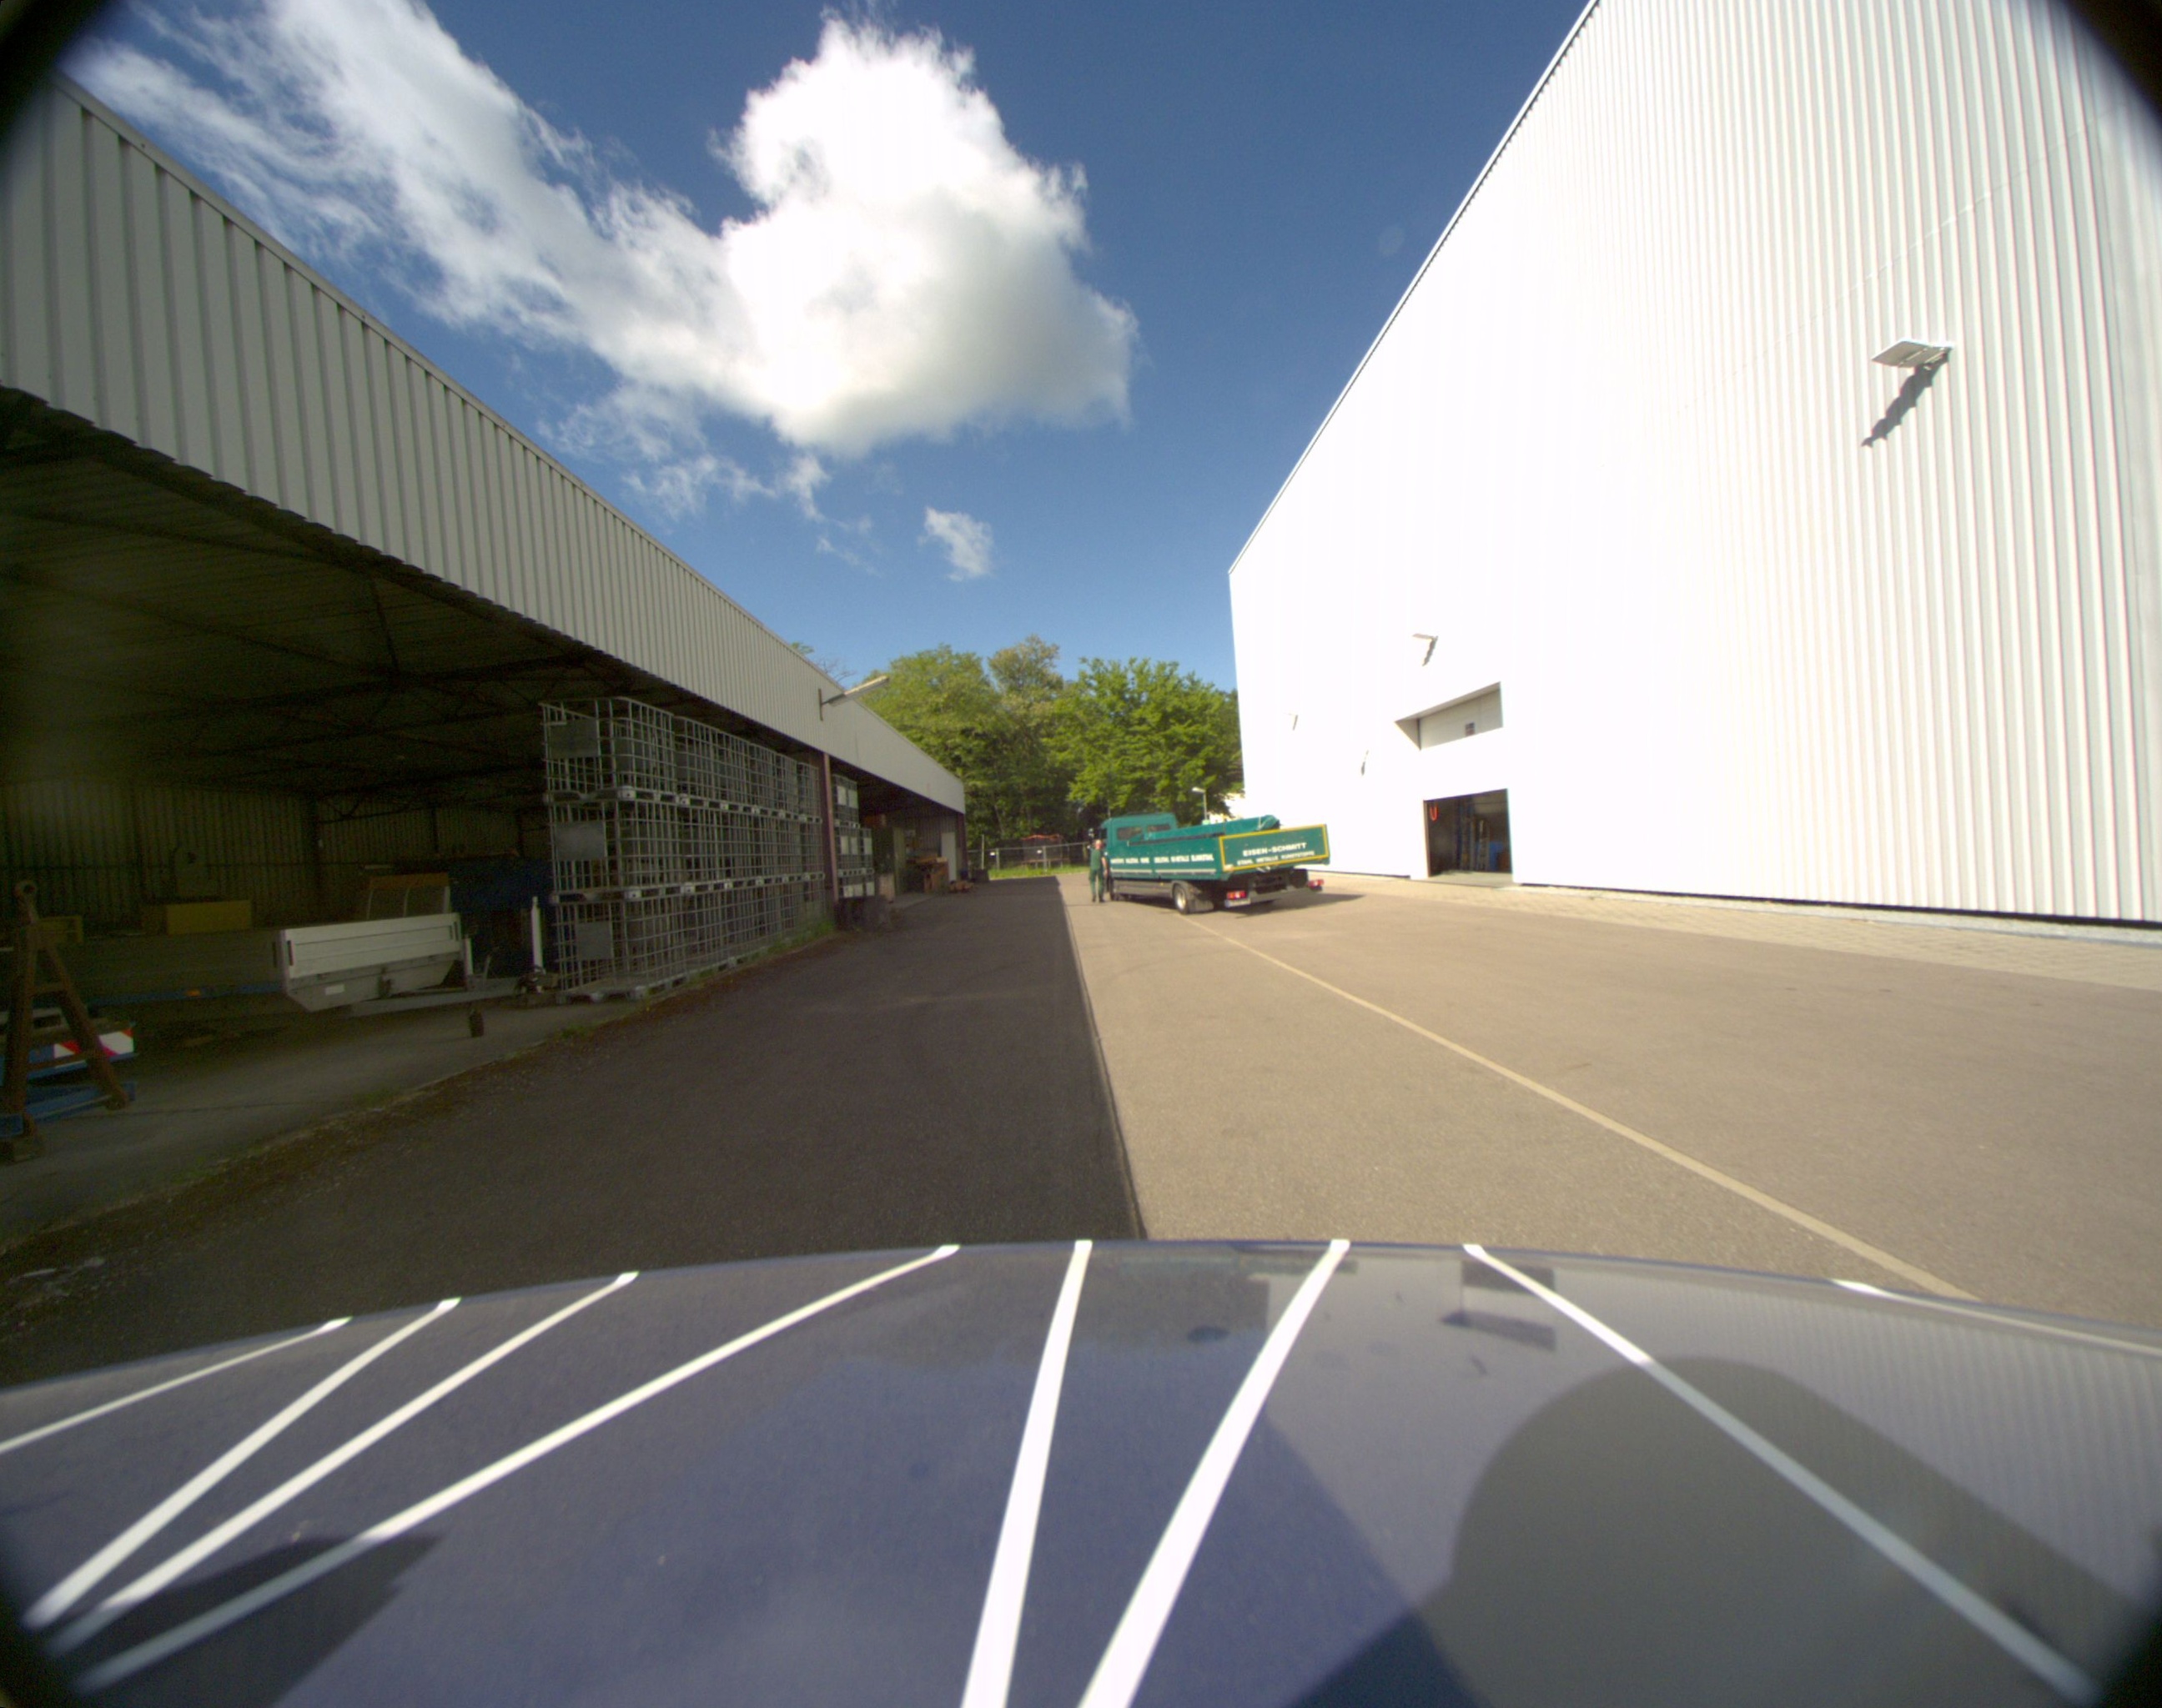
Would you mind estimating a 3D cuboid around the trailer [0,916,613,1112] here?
[{"bbox_3d":[-7.826,1.391,6.899,5.750,1.126,2.008,-3,1,-4],"label":"trailer"}]

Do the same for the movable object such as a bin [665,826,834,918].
[{"bbox_3d":[-10.822,0.573,25.109,4.628,2.706,1.999,-2,0,-4],"label":"movable object such as a bin"}]

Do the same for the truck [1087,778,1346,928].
[{"bbox_3d":[2.786,0.025,19.780,2.590,2.701,9.684,-7,1,-15],"label":"truck"}]

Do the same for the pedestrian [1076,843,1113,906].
[{"bbox_3d":[0.391,0.577,22.462,0.894,1.792,1.039,-2,1,-9],"label":"pedestrian"}]

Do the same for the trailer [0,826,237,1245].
[{"bbox_3d":[-7.570,0.959,3.567,4.829,1.985,2.046,-2,1,1],"label":"trailer"}]
